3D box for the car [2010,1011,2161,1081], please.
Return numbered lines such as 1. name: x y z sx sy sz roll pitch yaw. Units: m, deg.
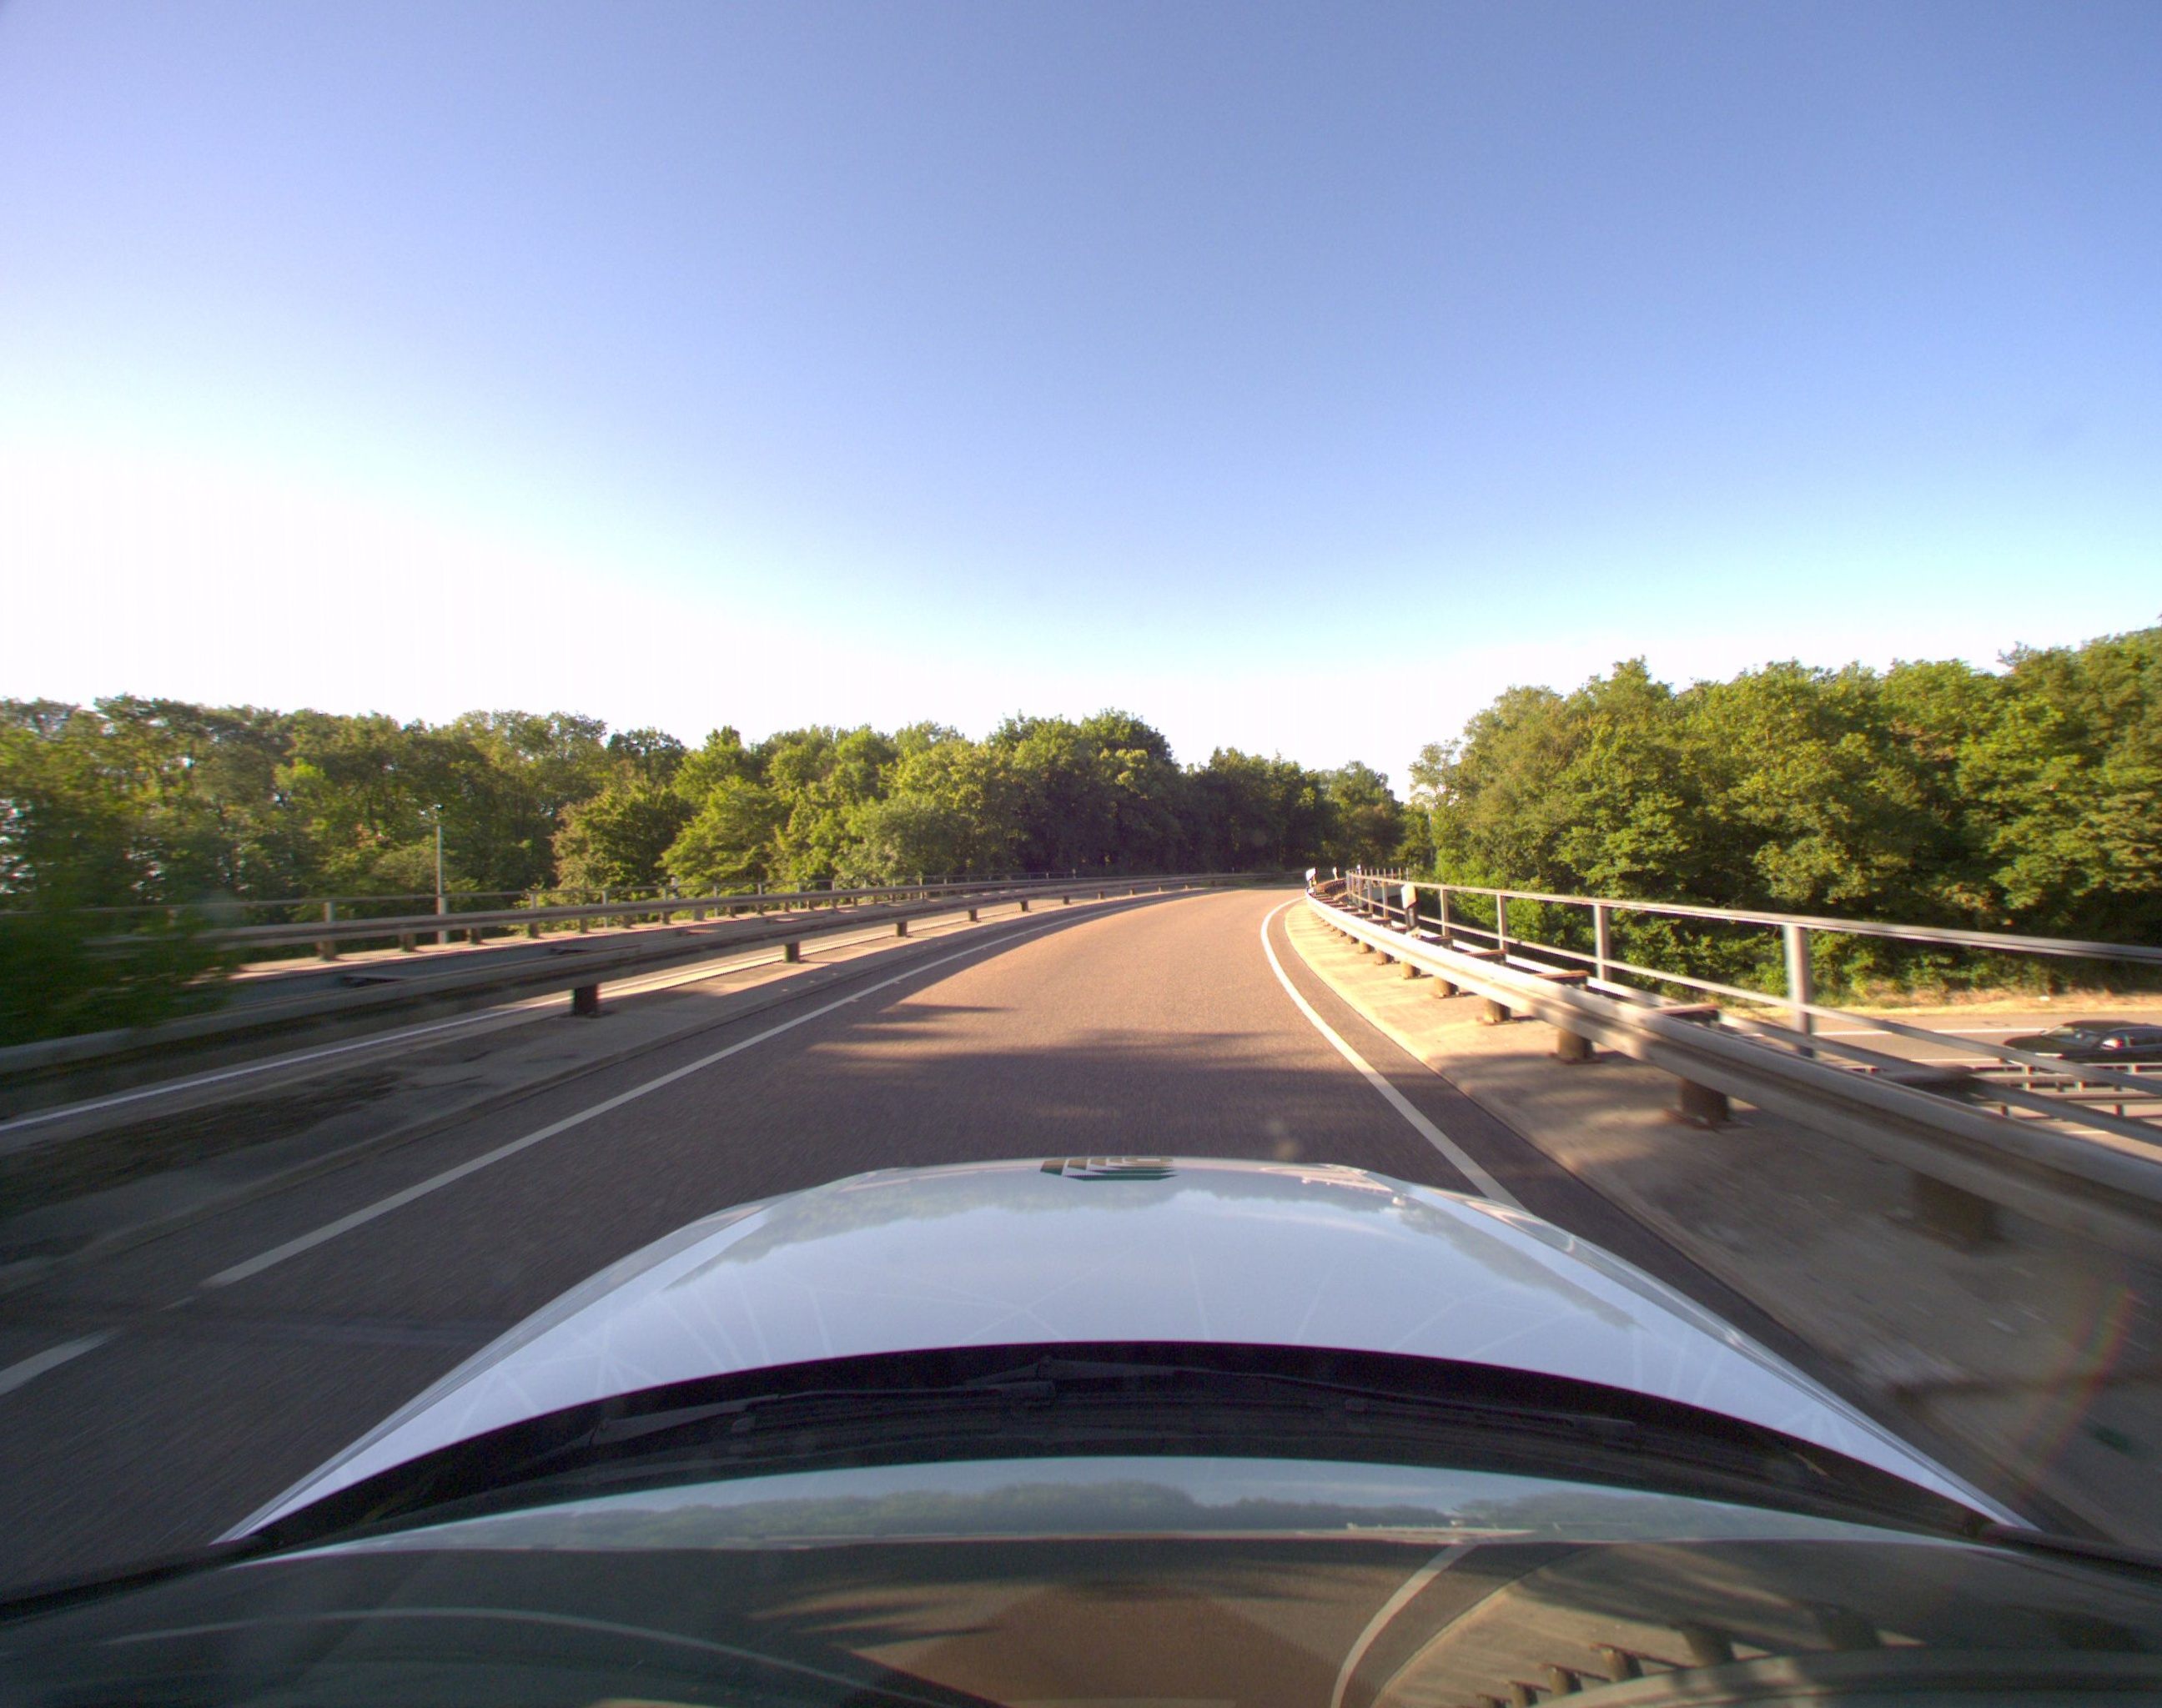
1. car: 32.429 6.004 25.588 3.962 1.683 1.874 -3 1 10
